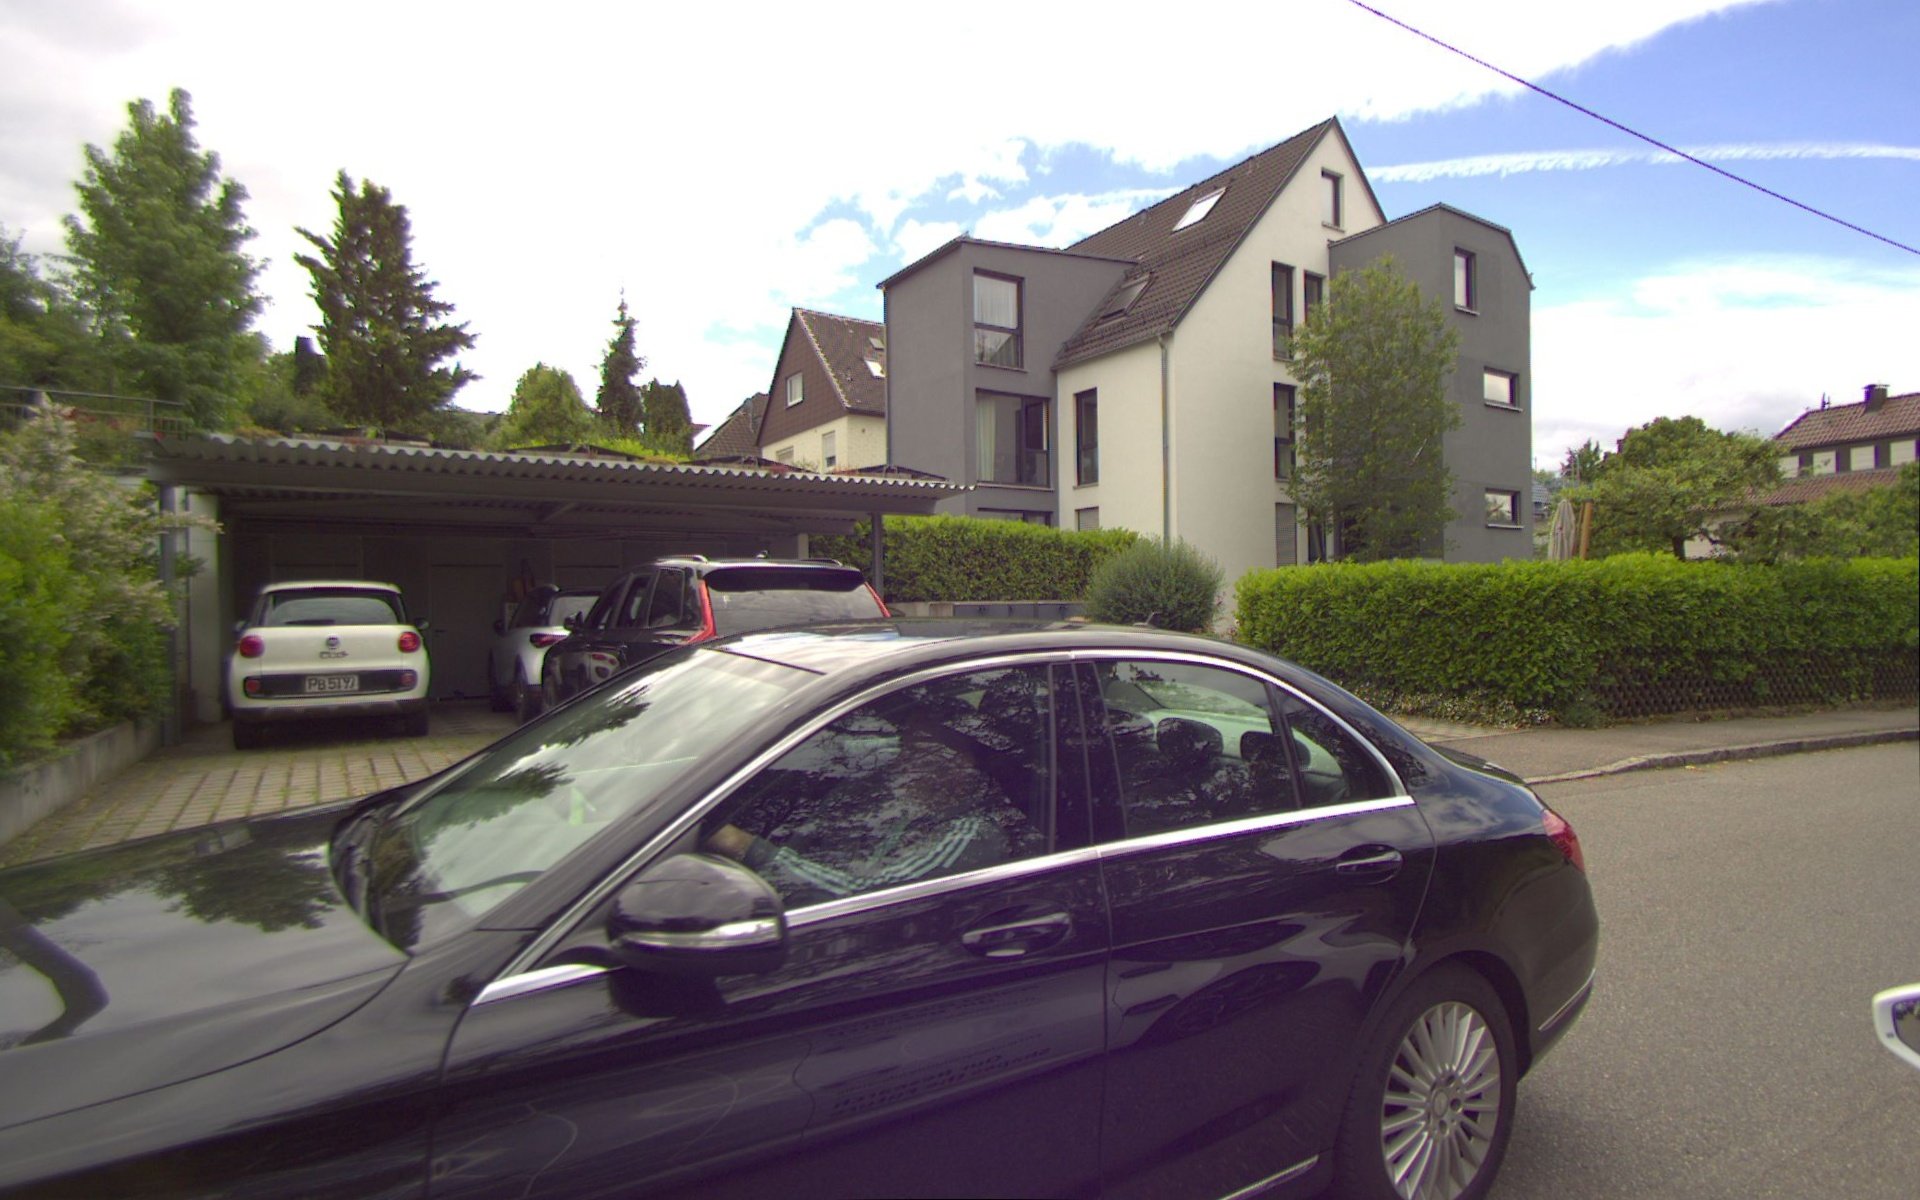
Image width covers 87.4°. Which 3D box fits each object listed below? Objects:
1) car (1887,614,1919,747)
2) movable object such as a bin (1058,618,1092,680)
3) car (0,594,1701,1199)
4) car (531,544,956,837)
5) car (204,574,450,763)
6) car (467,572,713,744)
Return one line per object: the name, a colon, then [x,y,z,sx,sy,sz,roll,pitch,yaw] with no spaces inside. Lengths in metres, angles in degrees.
car: [13.046,0.970,11.987,3.966,1.520,1.776,1,0,-29]
movable object such as a bin: [2.011,0.852,17.574,0.517,1.081,0.407,0,-1,-4]
car: [-0.280,0.744,2.522,4.539,1.433,1.853,1,0,-31]
car: [-2.094,0.574,8.376,1.979,1.720,4.589,1,-1,-33]
car: [-7.325,0.643,11.694,1.978,1.720,4.589,-2,0,-33]
car: [-4.710,0.595,12.411,1.978,1.720,4.098,-2,0,-33]
